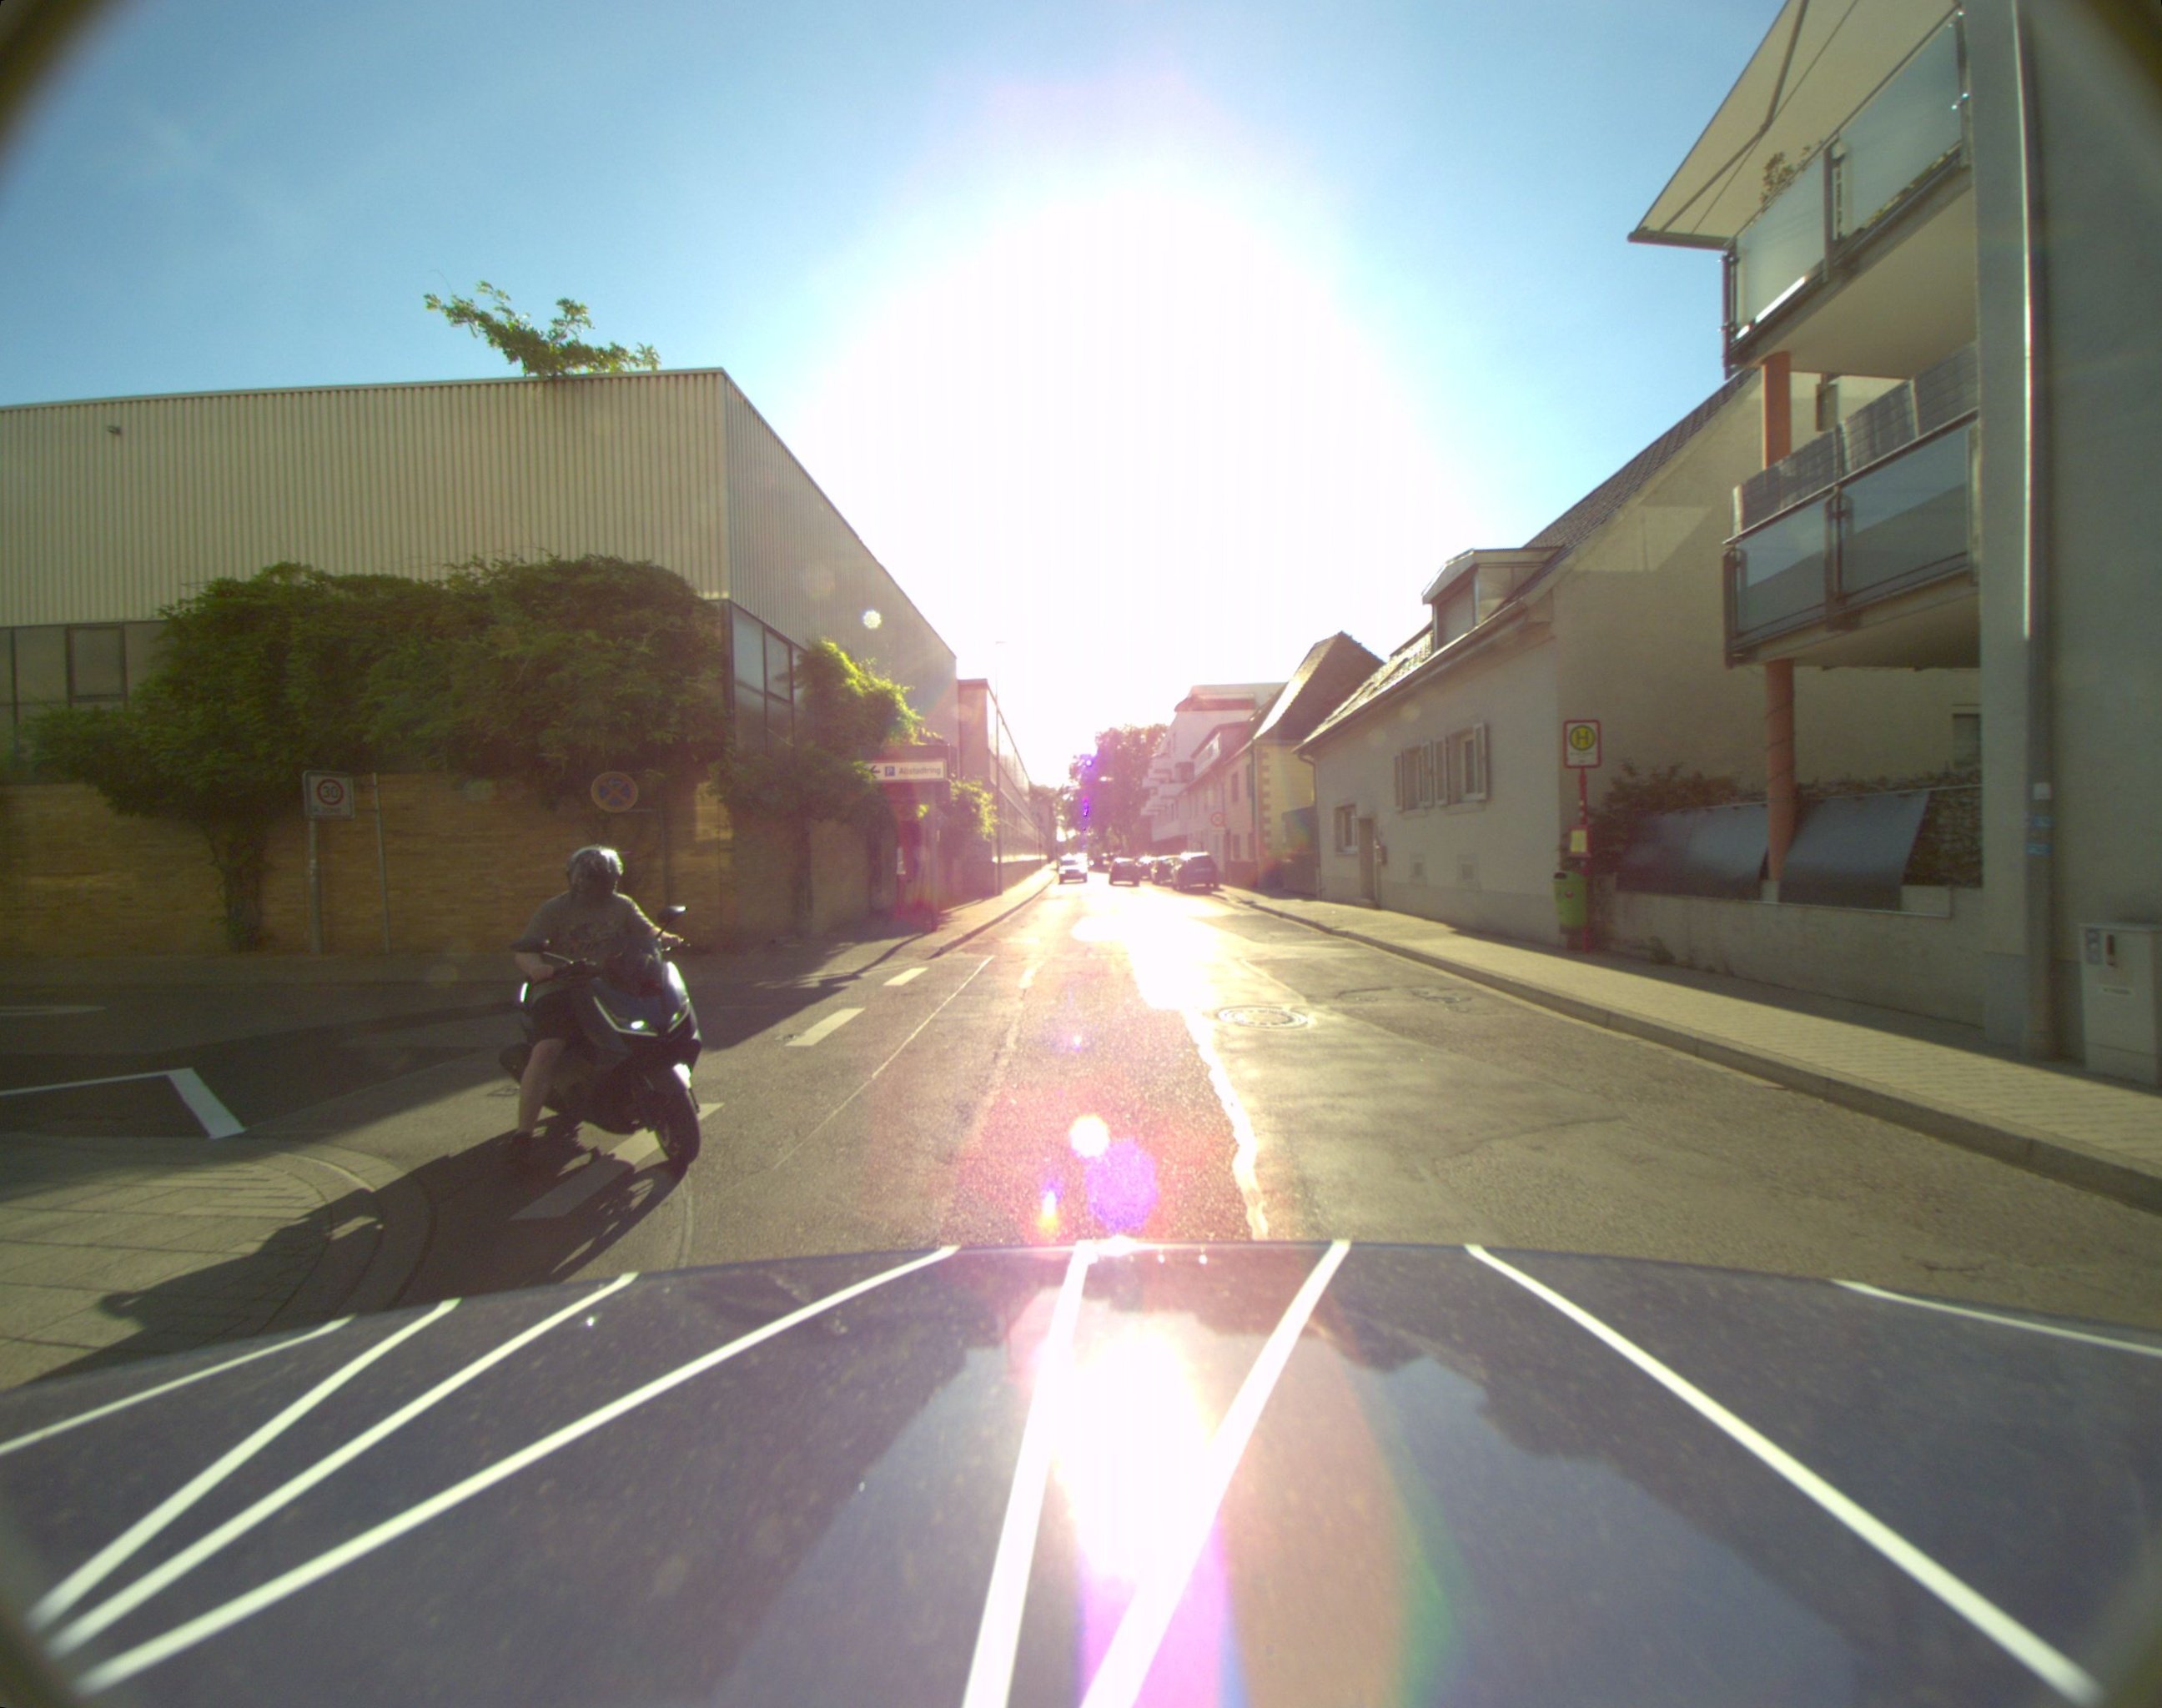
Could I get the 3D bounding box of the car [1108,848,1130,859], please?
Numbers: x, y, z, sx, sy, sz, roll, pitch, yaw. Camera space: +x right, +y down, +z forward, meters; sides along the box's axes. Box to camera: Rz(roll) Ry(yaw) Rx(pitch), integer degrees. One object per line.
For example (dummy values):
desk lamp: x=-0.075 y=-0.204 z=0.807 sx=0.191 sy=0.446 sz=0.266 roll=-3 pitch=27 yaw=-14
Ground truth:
car: x=7.536 y=-0.100 z=152.469 sx=4.005 sy=1.876 sz=1.713 roll=-3 pitch=1 yaw=-27

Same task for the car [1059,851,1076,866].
car: x=-1.649 y=0.551 z=89.063 sx=1.812 sy=1.578 sz=4.403 roll=-4 pitch=1 yaw=-2

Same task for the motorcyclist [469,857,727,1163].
motorcyclist: x=-2.728 y=0.777 z=4.324 sx=0.877 sy=1.464 sz=0.897 roll=-2 pitch=2 yaw=36

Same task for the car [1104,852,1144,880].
car: x=2.390 y=0.646 z=43.108 sx=1.847 sy=1.482 sz=4.142 roll=0 pitch=1 yaw=-2

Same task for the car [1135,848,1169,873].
car: x=4.969 y=0.432 z=53.675 sx=1.689 sy=1.526 sz=4.332 roll=-4 pitch=1 yaw=-4

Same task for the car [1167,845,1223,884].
car: x=5.176 y=0.493 z=34.942 sx=1.813 sy=1.577 sz=4.193 roll=-4 pitch=-1 yaw=0

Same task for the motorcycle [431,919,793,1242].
motorcycle: x=-2.771 y=1.082 z=4.365 sx=2.336 sy=1.273 sz=0.897 roll=-2 pitch=1 yaw=37

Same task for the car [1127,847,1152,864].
car: x=5.851 y=0.106 z=76.458 sx=1.863 sy=1.578 sz=4.619 roll=-4 pitch=1 yaw=-3

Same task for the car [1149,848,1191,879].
car: x=5.070 y=0.525 z=43.661 sx=1.862 sy=1.577 sz=4.336 roll=-4 pitch=0 yaw=1

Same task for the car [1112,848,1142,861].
car: x=6.509 y=0.112 z=107.213 sx=3.965 sy=1.653 sz=1.696 roll=-3 pitch=1 yaw=-28

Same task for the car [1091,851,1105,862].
car: x=2.497 y=0.394 z=109.742 sx=1.846 sy=1.482 sz=4.144 roll=3 pitch=1 yaw=2

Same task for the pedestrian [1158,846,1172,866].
pedestrian: x=8.170 y=0.176 z=73.692 sx=0.862 sy=1.808 sz=1.133 roll=-5 pitch=0 yaw=24

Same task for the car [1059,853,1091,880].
car: x=-0.433 y=0.782 z=49.806 sx=1.855 sy=1.527 sz=3.855 roll=-4 pitch=1 yaw=-3
